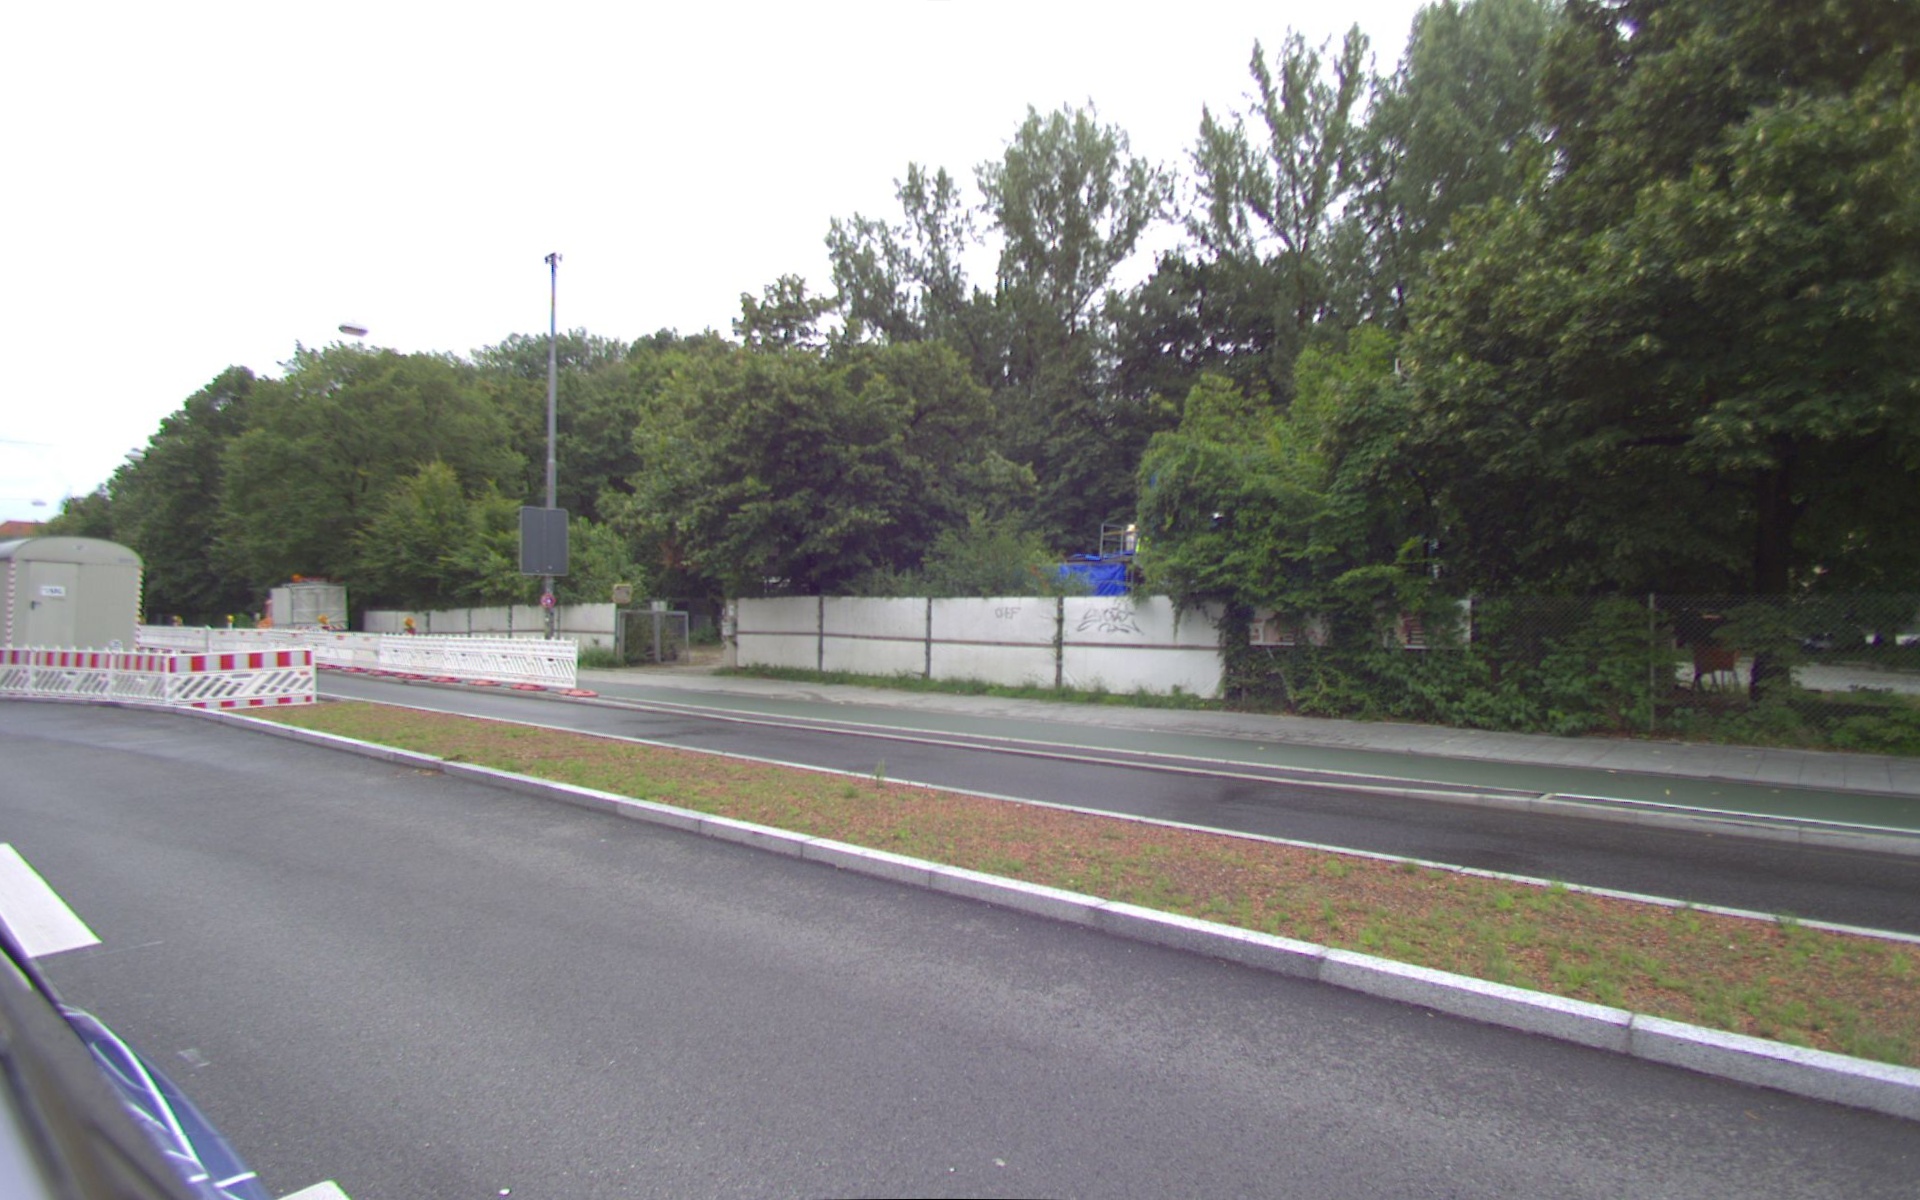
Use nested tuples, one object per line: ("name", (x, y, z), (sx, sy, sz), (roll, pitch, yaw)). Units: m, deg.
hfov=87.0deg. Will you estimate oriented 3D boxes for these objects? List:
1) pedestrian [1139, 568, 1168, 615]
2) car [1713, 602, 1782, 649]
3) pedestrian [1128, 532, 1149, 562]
("pedestrian", (7.485, -0.316, 39.143), (0.832, 1.788, 0.786), (-1, -2, 36))
("car", (30.508, 0.989, 39.235), (1.997, 1.732, 3.949), (-1, -2, 38))
("pedestrian", (7.429, -2.194, 42.135), (0.789, 1.194, 0.679), (-1, -2, 18))
